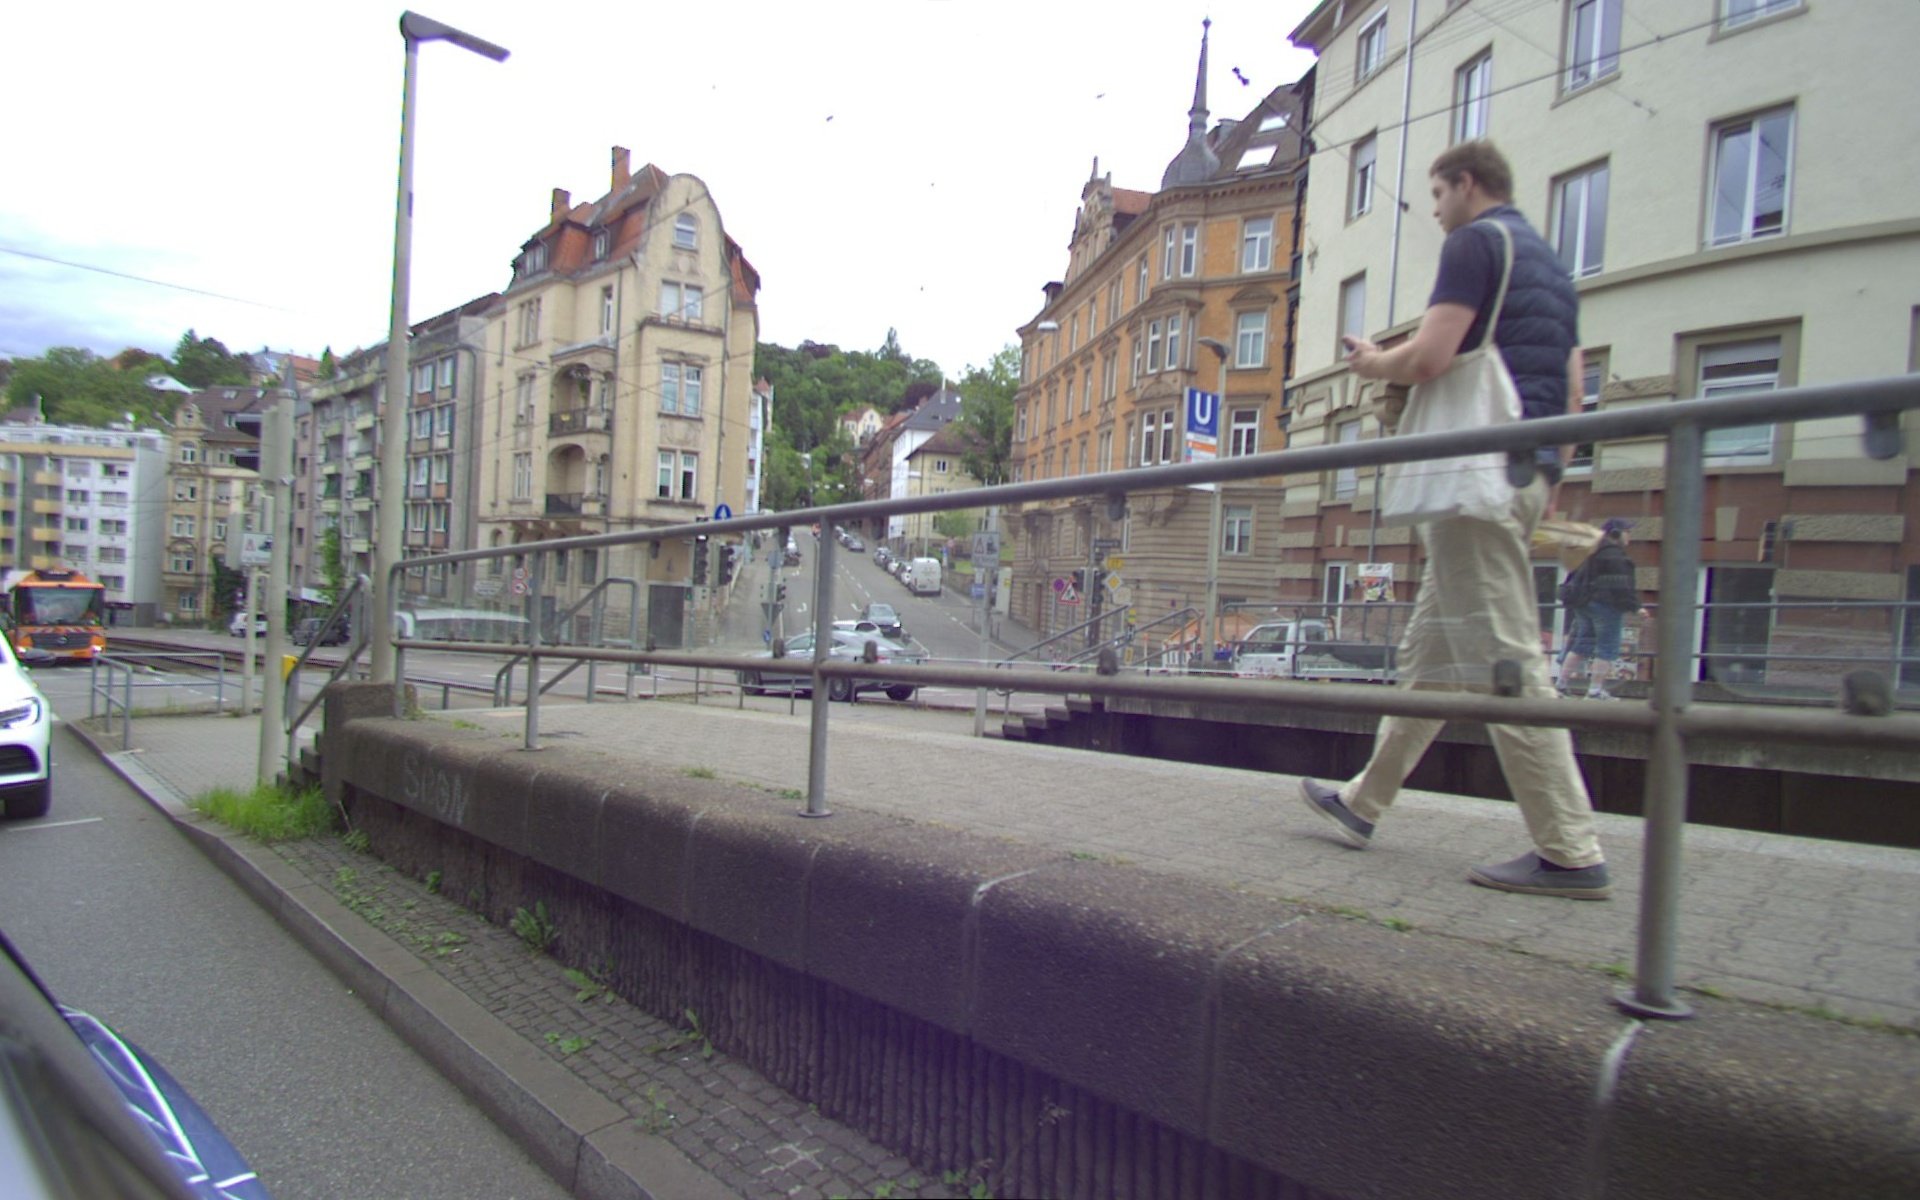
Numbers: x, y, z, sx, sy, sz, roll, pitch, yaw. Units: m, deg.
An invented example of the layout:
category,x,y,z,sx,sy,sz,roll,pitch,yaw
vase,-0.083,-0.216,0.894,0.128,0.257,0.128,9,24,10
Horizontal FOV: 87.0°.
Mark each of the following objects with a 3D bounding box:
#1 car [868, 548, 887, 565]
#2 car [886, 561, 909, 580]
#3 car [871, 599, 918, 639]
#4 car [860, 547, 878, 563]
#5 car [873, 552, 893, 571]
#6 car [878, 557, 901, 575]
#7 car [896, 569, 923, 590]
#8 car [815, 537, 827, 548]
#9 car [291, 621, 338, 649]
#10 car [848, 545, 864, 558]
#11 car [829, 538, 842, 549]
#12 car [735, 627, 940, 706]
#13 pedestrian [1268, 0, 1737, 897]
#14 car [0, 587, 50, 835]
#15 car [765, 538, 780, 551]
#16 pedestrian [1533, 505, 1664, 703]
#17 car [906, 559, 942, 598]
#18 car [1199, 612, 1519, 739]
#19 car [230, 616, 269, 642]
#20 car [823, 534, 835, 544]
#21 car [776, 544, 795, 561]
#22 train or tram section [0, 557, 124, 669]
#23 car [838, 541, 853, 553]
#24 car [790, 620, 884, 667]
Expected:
category,x,y,z,sx,sy,sz,roll,pitch,yaw
car,-8.712,-4.648,107.054,1.620,1.609,3.318,0,5,-11
car,-5.554,-2.645,90.033,1.620,1.442,3.318,0,5,-11
car,-3.409,0.946,52.032,1.967,1.687,4.010,0,4,-10
car,-10.073,-5.014,112.246,1.620,1.609,3.318,0,5,-11
car,-7.599,-3.790,99.667,1.620,1.609,3.318,0,5,-11
car,-6.574,-3.153,94.116,1.620,1.442,3.318,0,5,-11
car,-4.020,-1.644,80.032,1.620,1.442,3.318,0,5,-11
car,-20.140,-8.359,146.503,1.620,1.470,3.318,0,5,-11
car,-42.398,2.302,66.437,1.824,1.796,4.384,2,-2,-43
car,-12.528,-5.875,122.163,1.620,1.453,3.318,0,5,-11
car,-18.393,-8.383,149.364,1.620,1.470,3.318,0,5,-11
car,-2.613,1.296,20.911,4.381,1.457,1.825,-1,-2,43
pedestrian,1.269,-0.316,2.381,0.756,1.728,0.767,2,-3,-45
car,-8.608,0.760,7.976,4.672,1.679,1.815,0,0,44
car,-26.510,-7.792,142.980,1.911,1.650,4.011,0,5,-11
pedestrian,5.842,0.046,9.263,0.756,1.701,0.843,2,-3,-45
car,-2.647,-1.611,73.883,1.967,2.495,4.011,0,5,-11
car,6.209,1.096,16.106,4.381,1.747,1.825,-1,-2,43
car,-56.305,2.292,80.150,1.824,1.989,4.052,2,-2,-45
car,-21.013,-9.855,162.469,1.620,1.470,3.318,0,5,-11
car,-19.664,-5.362,113.935,1.911,1.650,4.011,0,5,-11
train or tram section,-34.362,0.575,37.865,14.410,3.503,2.927,-1,-3,43
car,-15.027,-6.927,132.360,1.620,1.470,3.318,0,5,-11
car,-4.688,1.671,39.285,1.986,1.723,3.971,-1,-2,22
